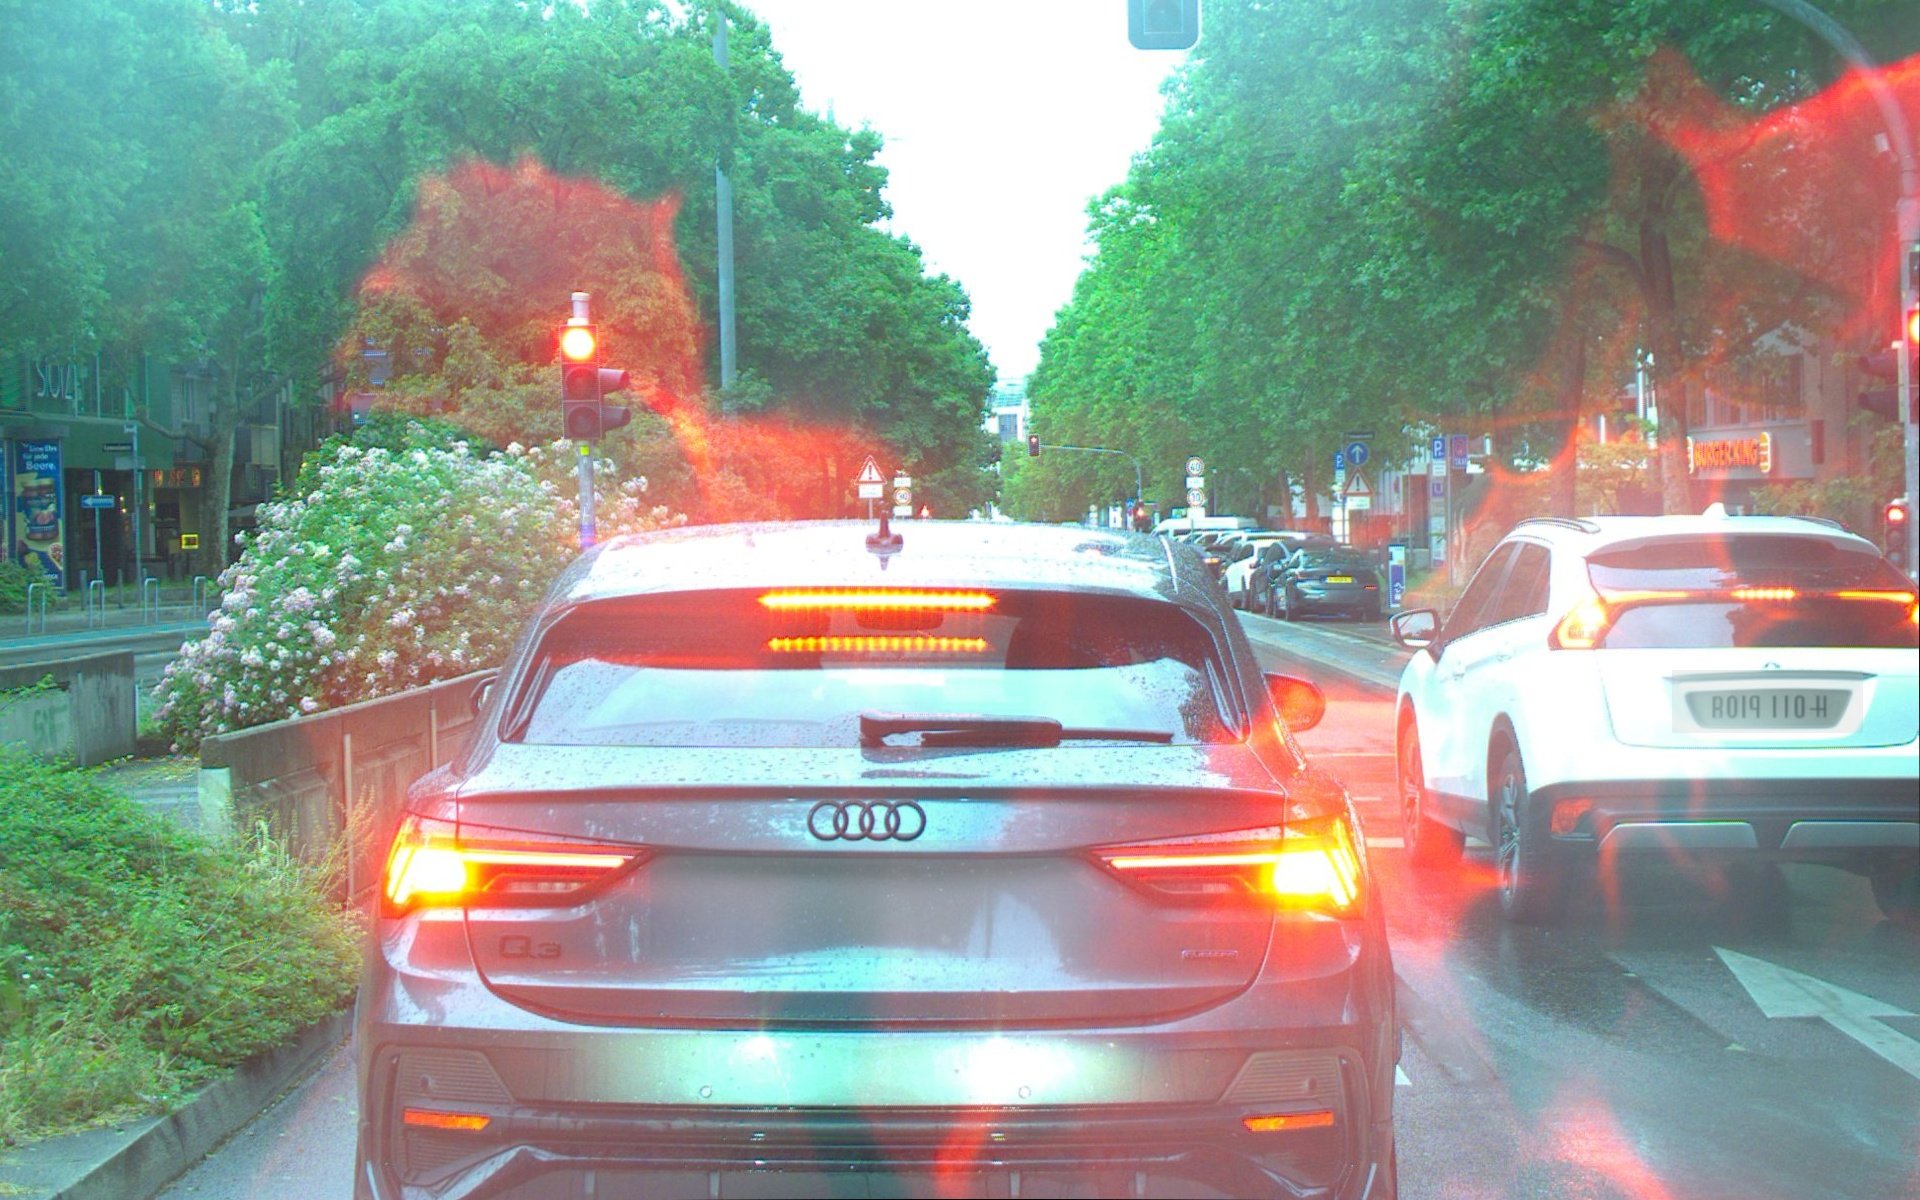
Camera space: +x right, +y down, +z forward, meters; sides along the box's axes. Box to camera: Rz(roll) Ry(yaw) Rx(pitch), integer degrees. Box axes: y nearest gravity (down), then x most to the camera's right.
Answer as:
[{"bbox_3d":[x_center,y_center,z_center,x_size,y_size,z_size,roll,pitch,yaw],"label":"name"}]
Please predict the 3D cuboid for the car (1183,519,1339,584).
[{"bbox_3d":[9.573,-1.548,109.441,4.602,2.007,1.964,1,0,39],"label":"car"}]

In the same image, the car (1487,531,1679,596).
[{"bbox_3d":[10.614,-0.625,58.580,2.889,1.071,1.453,1,0,32],"label":"car"}]

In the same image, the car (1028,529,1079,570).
[{"bbox_3d":[3.878,-2.089,143.133,1.993,1.645,4.000,1,0,1],"label":"car"}]

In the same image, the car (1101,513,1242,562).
[{"bbox_3d":[7.611,-2.262,123.622,4.646,1.700,1.997,1,0,28],"label":"car"}]

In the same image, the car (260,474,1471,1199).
[{"bbox_3d":[-0.167,0.573,7.258,1.849,1.596,4.000,0,1,-1],"label":"car"}]

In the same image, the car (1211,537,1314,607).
[{"bbox_3d":[6.965,-0.646,79.503,1.727,1.566,4.074,1,0,-4],"label":"car"}]

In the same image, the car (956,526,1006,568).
[{"bbox_3d":[0.828,-2.078,135.651,1.896,1.593,3.939,1,0,-1],"label":"car"}]

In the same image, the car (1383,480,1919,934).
[{"bbox_3d":[3.029,0.392,14.970,1.878,1.691,4.000,1,0,0],"label":"car"}]

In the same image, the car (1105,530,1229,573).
[{"bbox_3d":[8.472,-1.982,140.706,4.646,1.700,1.997,1,0,28],"label":"car"}]

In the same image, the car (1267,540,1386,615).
[{"bbox_3d":[7.267,-0.469,68.538,1.873,1.416,4.611,1,1,0],"label":"car"}]

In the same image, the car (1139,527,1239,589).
[{"bbox_3d":[6.556,-1.214,98.915,1.993,1.720,4.001,1,0,-9],"label":"car"}]
